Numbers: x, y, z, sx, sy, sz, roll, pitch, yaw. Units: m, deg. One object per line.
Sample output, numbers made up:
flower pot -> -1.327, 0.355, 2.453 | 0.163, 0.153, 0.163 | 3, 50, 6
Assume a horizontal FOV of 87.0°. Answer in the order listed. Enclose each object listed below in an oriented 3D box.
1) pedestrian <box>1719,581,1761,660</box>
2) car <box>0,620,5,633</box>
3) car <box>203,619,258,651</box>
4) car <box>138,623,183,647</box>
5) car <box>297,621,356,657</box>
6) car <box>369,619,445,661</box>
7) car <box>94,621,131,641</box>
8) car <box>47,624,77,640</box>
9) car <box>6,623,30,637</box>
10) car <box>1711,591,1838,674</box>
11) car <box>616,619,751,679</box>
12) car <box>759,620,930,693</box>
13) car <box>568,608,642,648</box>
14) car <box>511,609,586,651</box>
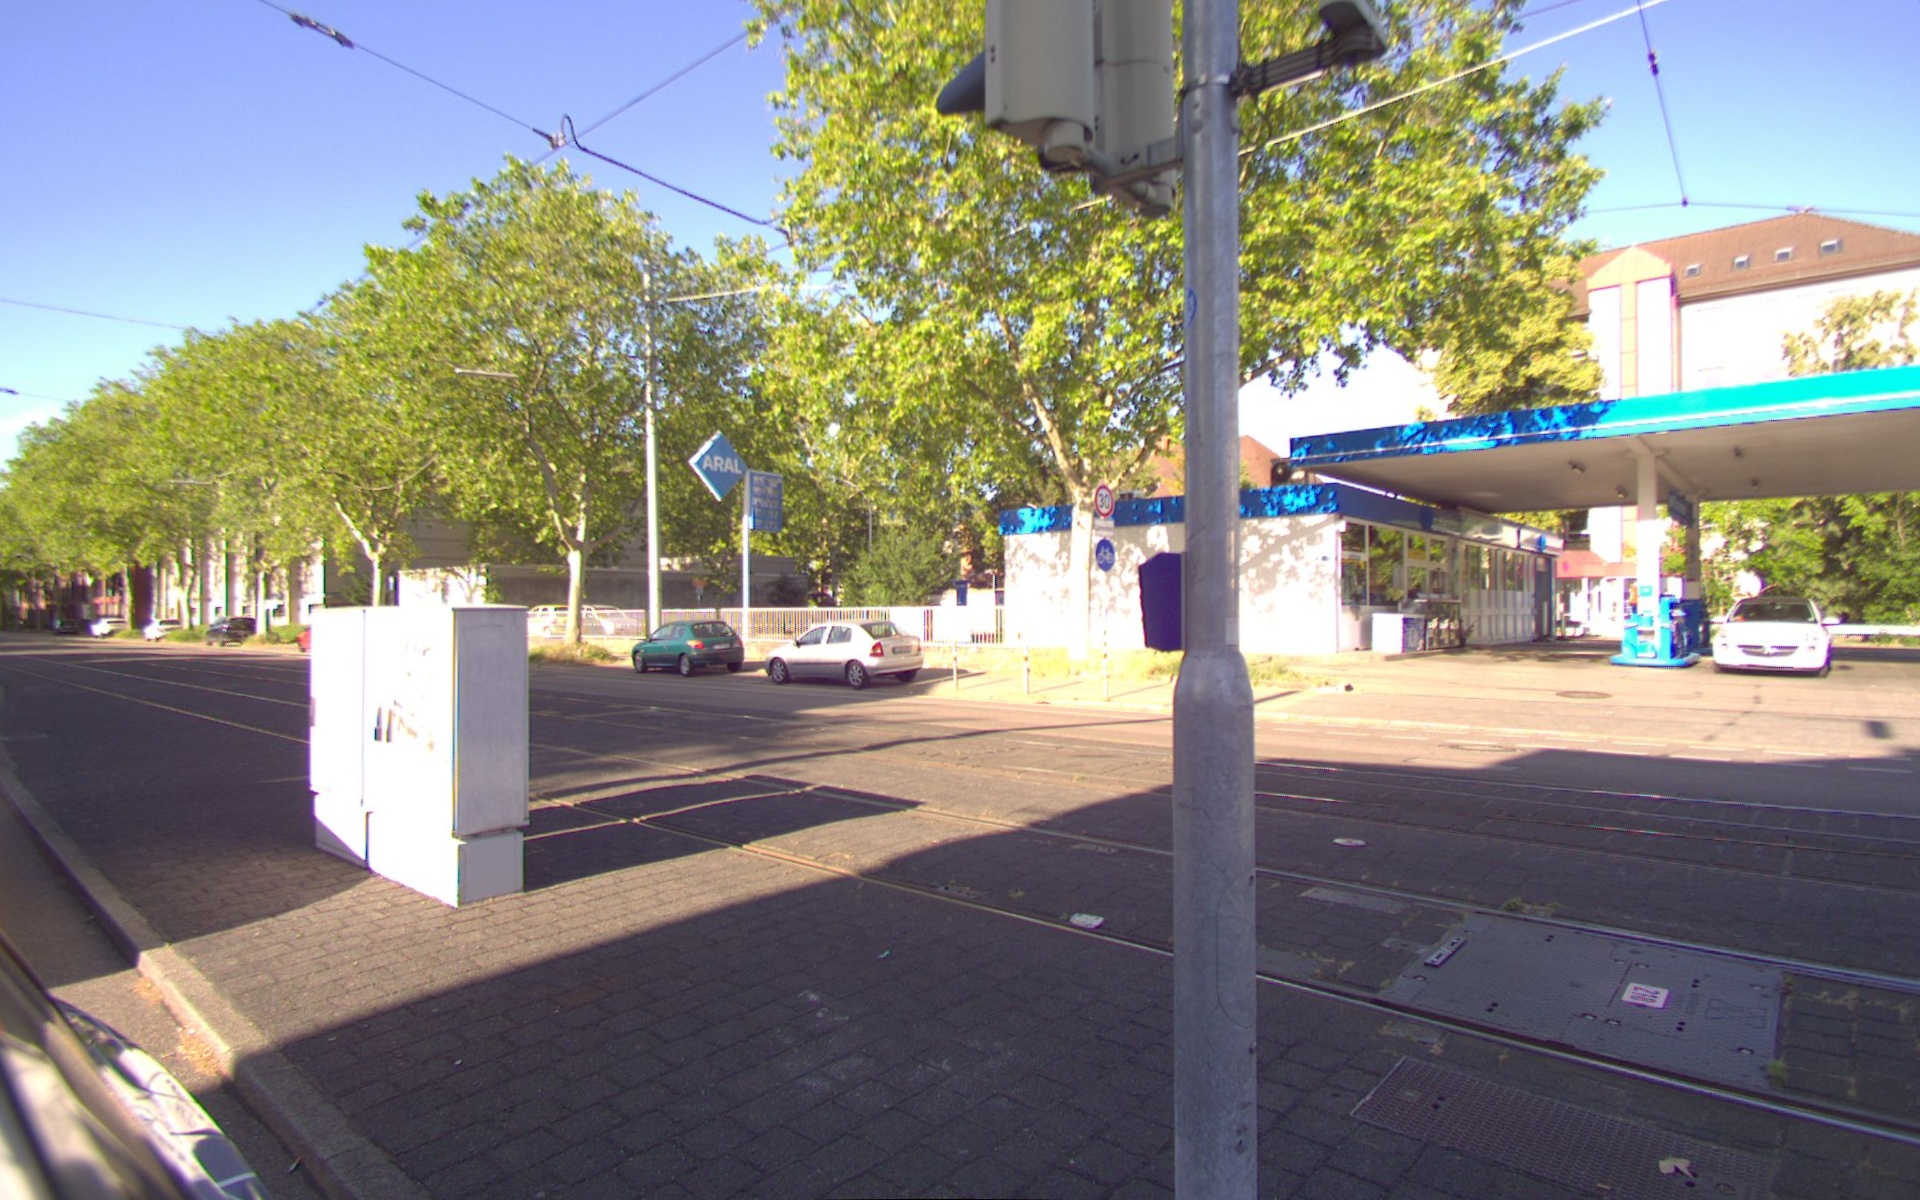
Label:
pedestrian -> 17.211, 0.460, 22.330 | 0.493, 1.714, 0.649 | 1, -2, -45
car -> -133.941, 3.674, 140.449 | 3.748, 1.798, 1.674 | -1, 1, 41
car -> -40.679, 1.936, 56.439 | 3.748, 1.670, 1.674 | -1, 1, 41
car -> -53.865, 2.339, 68.163 | 3.748, 1.459, 1.674 | -1, 1, 41
car -> -28.689, 1.752, 45.817 | 2.621, 1.519, 1.579 | -1, 1, 41
car -> -21.878, 1.554, 39.990 | 3.303, 1.519, 1.579 | -1, 1, 41
car -> -66.683, 2.442, 79.589 | 3.748, 1.459, 1.674 | -1, 1, 41
car -> -85.246, 3.026, 96.025 | 3.748, 1.459, 1.674 | -1, 1, 41
car -> -112.147, 3.559, 120.484 | 3.748, 1.459, 1.674 | -1, 1, 41
car -> 15.886, 0.607, 19.687 | 1.757, 1.453, 3.521 | -1, -1, 41
car -> -7.401, 1.262, 26.960 | 3.748, 1.413, 1.674 | -1, 1, 41
car -> -2.637, 1.202, 22.632 | 3.812, 1.413, 1.674 | -1, 1, 41
car -> -15.267, 1.192, 43.435 | 3.303, 1.604, 1.579 | -1, 0, 41
car -> -17.086, 1.227, 41.958 | 3.303, 1.628, 1.579 | -1, 0, 41
